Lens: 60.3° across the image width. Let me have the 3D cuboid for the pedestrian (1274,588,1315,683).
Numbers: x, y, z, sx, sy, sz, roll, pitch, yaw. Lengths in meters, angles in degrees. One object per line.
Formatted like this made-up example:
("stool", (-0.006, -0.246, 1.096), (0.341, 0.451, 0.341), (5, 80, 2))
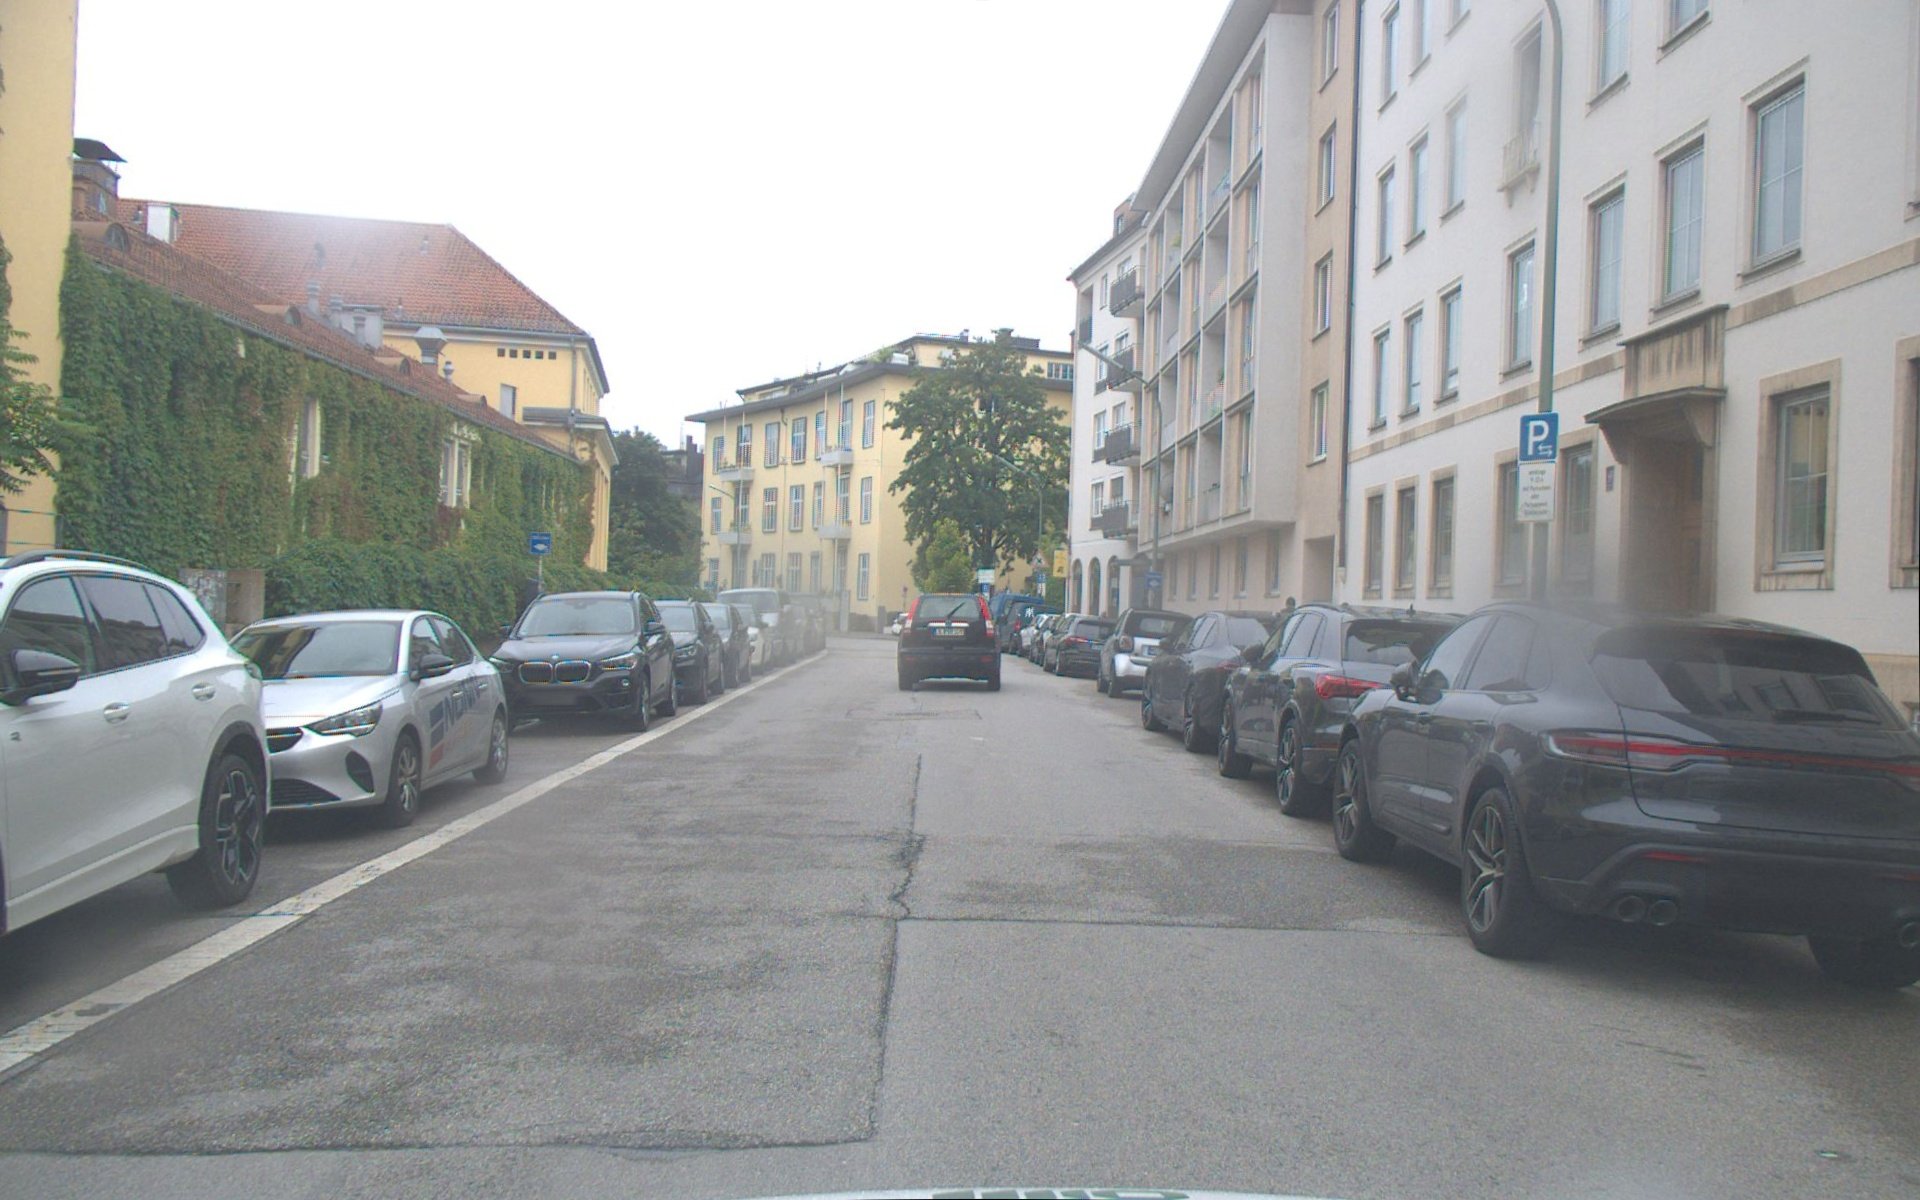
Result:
("pedestrian", (6.044, 0.637, 29.872), (0.584, 1.683, 0.630), (1, 0, -1))

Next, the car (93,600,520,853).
("car", (-4.384, 0.746, 11.744), (1.646, 1.451, 3.892), (-1, 0, -3))

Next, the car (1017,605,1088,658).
("car", (2.799, 0.932, 51.022), (1.704, 1.525, 4.493), (1, 0, -3))

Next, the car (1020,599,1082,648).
("car", (3.027, 0.770, 55.944), (1.704, 1.564, 4.272), (1, 0, -2))

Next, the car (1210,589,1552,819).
("car", (3.285, 0.723, 13.773), (1.742, 1.612, 4.271), (0, 0, 0))

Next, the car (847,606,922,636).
("car", (-4.447, 1.232, 97.528), (3.908, 1.646, 1.998), (1, 0, 25))

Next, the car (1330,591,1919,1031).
("car", (3.279, 0.819, 8.530), (1.742, 1.612, 4.330), (3, 0, 1))

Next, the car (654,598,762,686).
("car", (-4.532, 0.717, 30.196), (1.547, 1.481, 3.902), (1, 0, -3))

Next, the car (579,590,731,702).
("car", (-4.573, 0.642, 25.348), (1.746, 1.565, 4.146), (1, 0, -3))

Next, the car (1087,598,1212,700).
("car", (3.341, 0.822, 29.744), (1.638, 1.561, 3.880), (5, 0, -1))

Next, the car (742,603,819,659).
("car", (-4.980, 0.828, 46.384), (1.666, 1.447, 4.424), (1, 0, 0))

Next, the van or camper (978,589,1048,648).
("van or camper", (2.080, 0.710, 66.966), (2.021, 2.270, 5.430), (1, 0, -7))

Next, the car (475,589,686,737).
("car", (-4.410, 0.668, 19.804), (1.746, 1.565, 4.192), (1, 0, -3))

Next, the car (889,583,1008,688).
("car", (-0.200, 0.592, 29.793), (1.954, 1.724, 4.380), (1, 0, 0))

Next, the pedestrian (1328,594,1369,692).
("pedestrian", (6.463, 0.713, 27.552), (0.520, 1.612, 0.560), (1, 0, -1))

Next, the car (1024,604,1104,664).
("car", (2.808, 0.904, 45.550), (1.704, 1.525, 4.217), (2, 0, -3))

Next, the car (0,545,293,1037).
("car", (-4.130, 0.659, 6.313), (1.647, 1.662, 4.353), (-1, 0, -4))

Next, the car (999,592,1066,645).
("car", (2.624, 0.647, 61.174), (1.925, 1.848, 4.932), (1, 0, -4))

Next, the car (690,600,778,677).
("car", (-4.812, 0.788, 35.531), (1.547, 1.518, 3.728), (1, 0, -3))

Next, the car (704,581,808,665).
("car", (-4.946, 0.523, 40.723), (1.953, 1.908, 4.758), (1, 0, 0))

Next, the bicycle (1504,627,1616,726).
("bicycle", (7.545, 0.935, 20.892), (0.645, 1.146, 2.027), (1, 0, -1))

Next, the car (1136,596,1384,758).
("car", (3.245, 0.757, 18.863), (1.818, 1.571, 4.815), (1, 0, -2))

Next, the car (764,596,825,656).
("car", (-5.102, 0.773, 51.466), (1.587, 1.760, 4.422), (1, 0, -2))

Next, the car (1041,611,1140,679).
("car", (3.065, 1.031, 39.721), (1.760, 1.445, 4.480), (3, 0, -3))

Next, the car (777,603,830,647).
("car", (-5.369, 0.841, 57.004), (1.587, 1.402, 4.070), (1, 0, -2))

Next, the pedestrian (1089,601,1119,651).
("pedestrian", (5.074, 0.923, 58.442), (0.880, 1.717, 1.319), (1, -1, -3))
